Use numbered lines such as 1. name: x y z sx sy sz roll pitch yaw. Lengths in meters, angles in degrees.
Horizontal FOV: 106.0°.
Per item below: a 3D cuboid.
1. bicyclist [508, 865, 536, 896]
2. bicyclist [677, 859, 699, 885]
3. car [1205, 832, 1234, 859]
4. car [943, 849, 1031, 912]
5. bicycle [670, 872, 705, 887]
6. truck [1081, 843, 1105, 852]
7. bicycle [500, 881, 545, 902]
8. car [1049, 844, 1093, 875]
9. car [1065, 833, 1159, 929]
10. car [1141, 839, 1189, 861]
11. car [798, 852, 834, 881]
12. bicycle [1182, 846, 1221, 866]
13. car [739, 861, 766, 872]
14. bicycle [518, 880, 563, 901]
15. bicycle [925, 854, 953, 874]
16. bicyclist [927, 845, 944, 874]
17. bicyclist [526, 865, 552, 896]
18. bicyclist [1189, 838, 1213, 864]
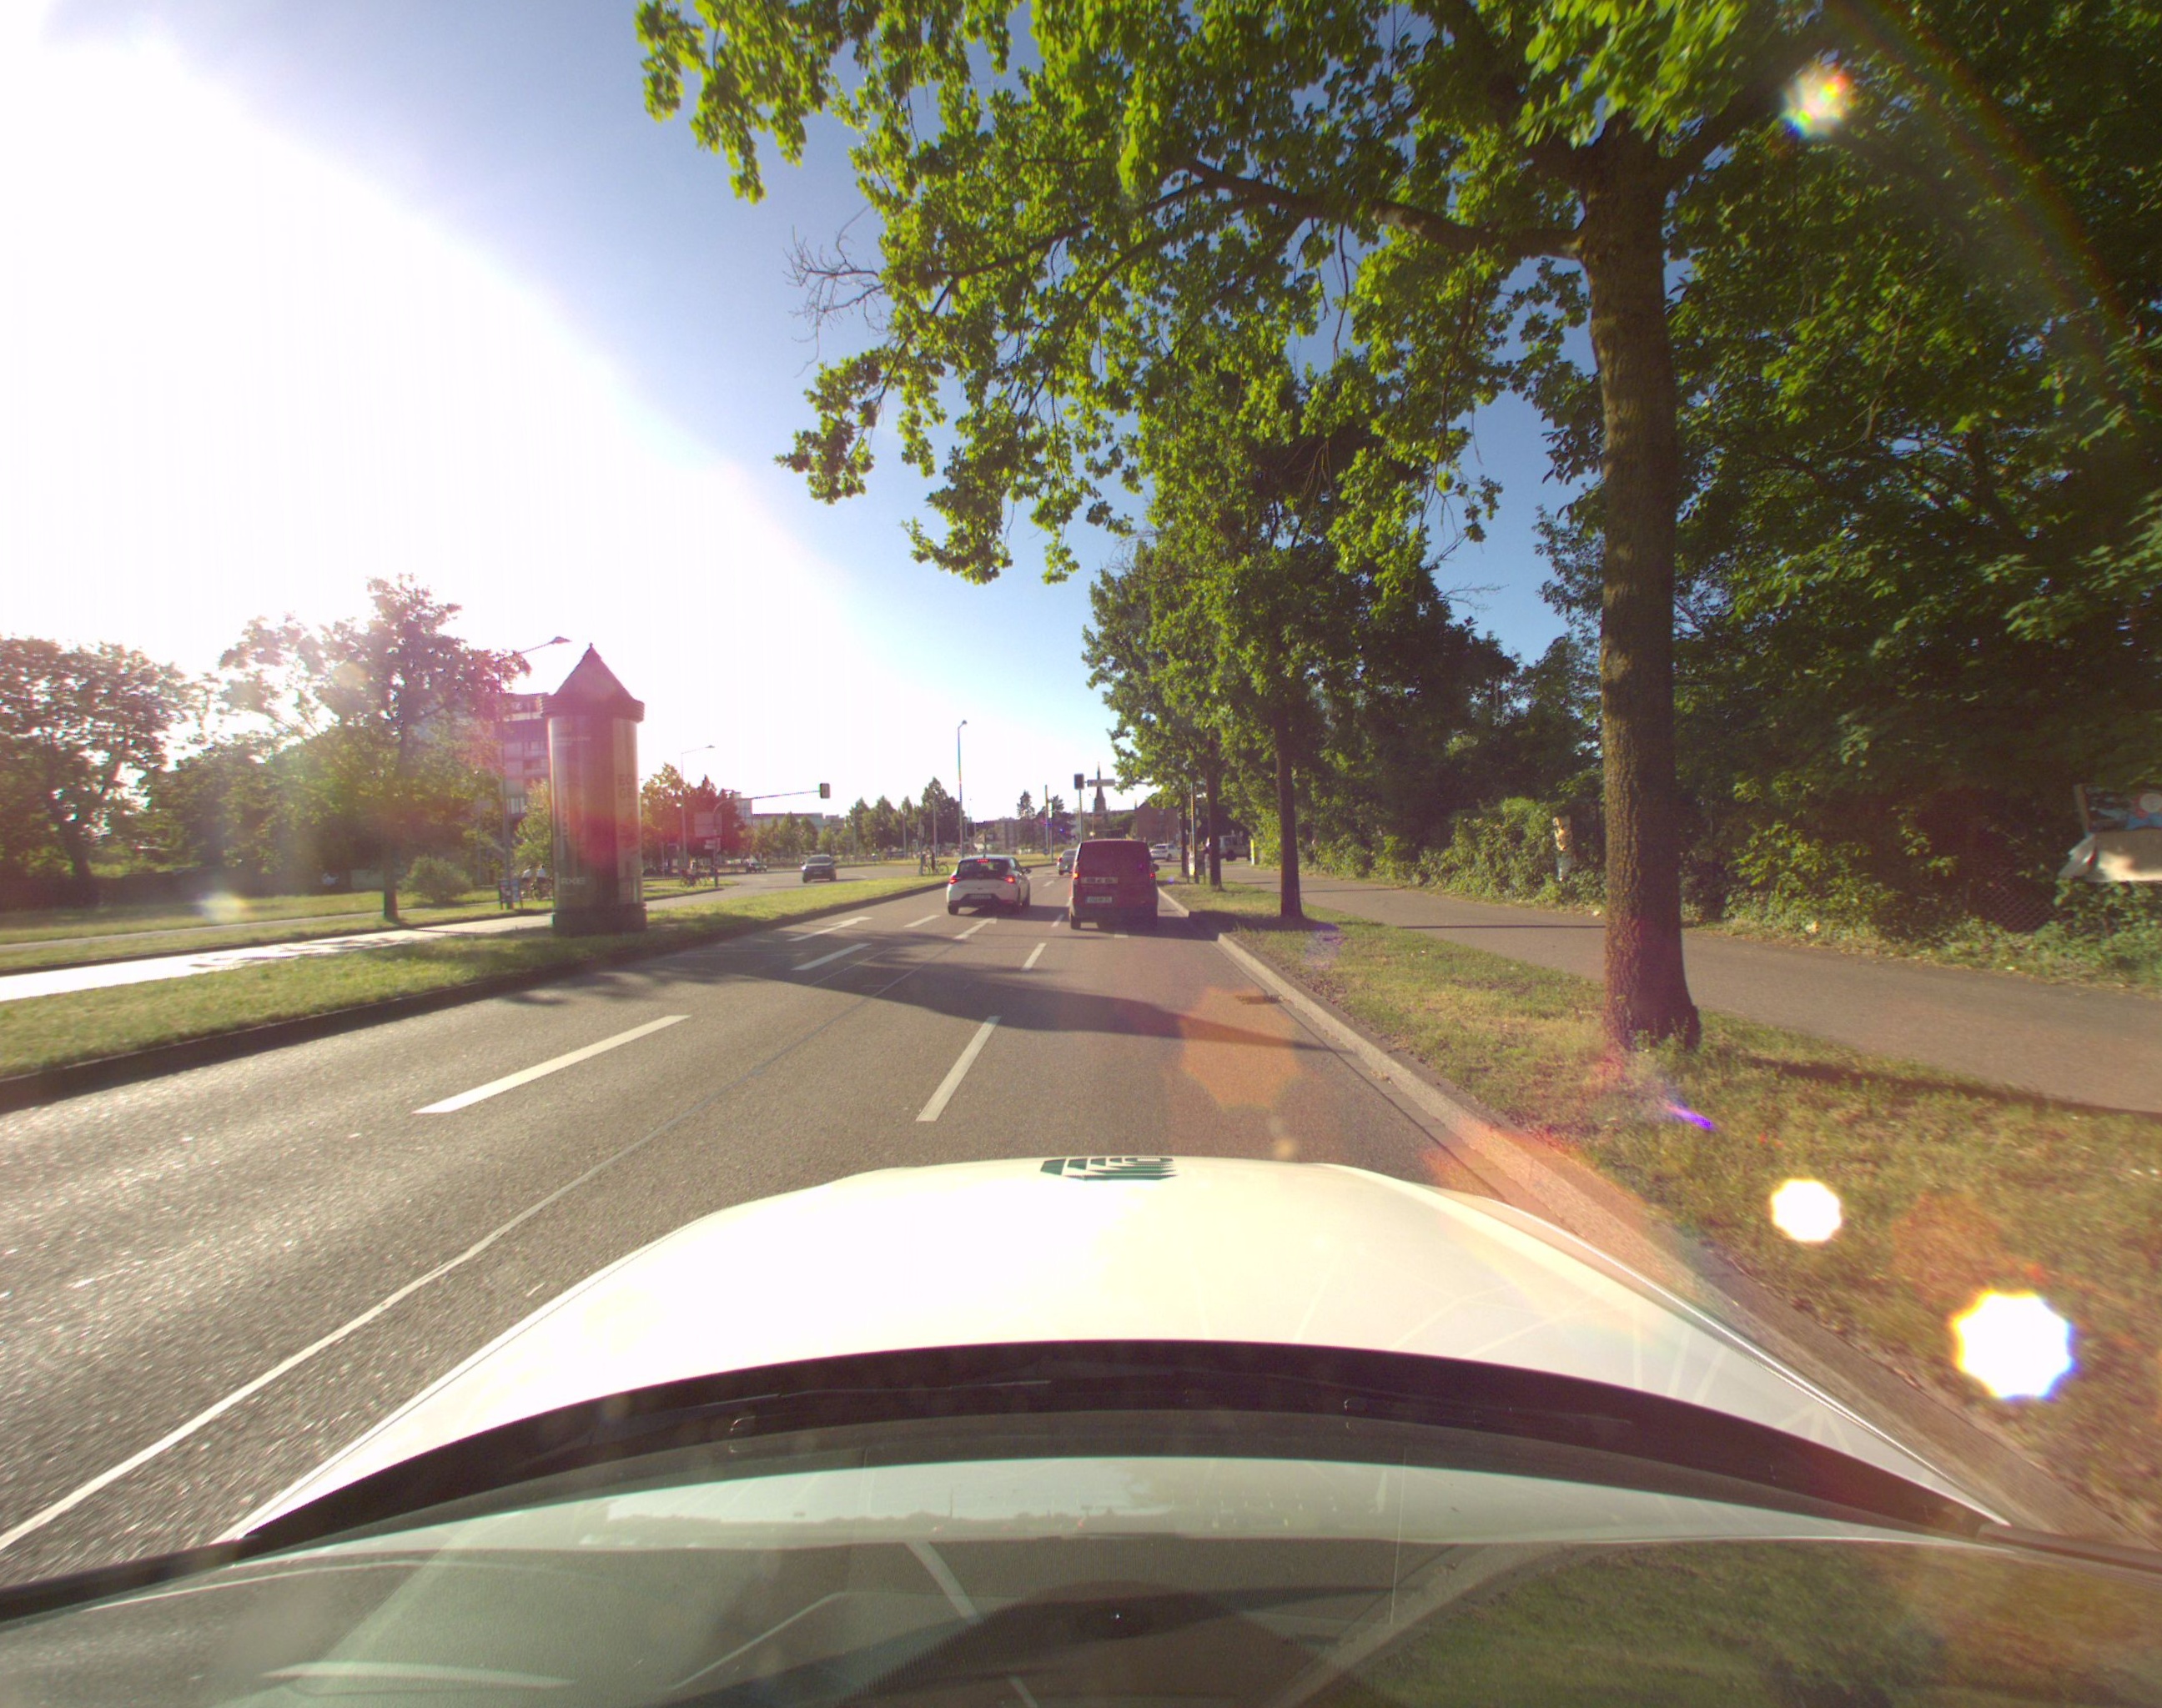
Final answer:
1. bicyclist: -26.440 1.230 38.538 0.612 1.392 0.839 -2 1 7
2. bicyclist: -23.876 1.085 49.496 0.917 1.517 0.619 -2 1 8
3. car: 10.519 -0.606 62.070 1.985 1.897 4.764 -2 0 8
4. car: -2.341 0.623 21.216 1.796 1.461 3.810 -1 0 1
5. bicycle: -23.910 1.551 49.503 1.872 0.852 0.619 -2 1 8
6. truck: 2.820 -1.414 188.569 2.181 2.014 6.364 0 -1 -37
7. bicycle: -26.409 1.772 38.552 0.612 0.852 1.893 -2 1 7
8. car: -0.512 0.272 46.948 1.983 1.575 4.416 -2 1 6
9. car: 0.698 0.502 17.483 1.795 1.813 3.813 0 0 3
10. car: 6.928 -0.331 66.514 1.974 1.639 4.437 -2 1 34
11. car: -16.916 0.780 52.162 1.999 1.739 4.710 -2 0 -17
12. bicycle: 7.621 0.116 51.459 2.218 1.155 0.870 -3 -1 -22
13. car: -53.246 2.063 132.087 4.269 1.541 2.022 -2 0 35
14. bicycle: -25.265 1.695 38.124 0.612 0.852 1.893 -2 1 7
15. bicycle: -8.578 0.600 49.238 1.649 1.128 0.702 -2 -1 -8
16. bicyclist: -8.782 0.336 49.202 0.939 1.663 0.702 -2 -1 -8
17. bicyclist: -25.335 1.225 38.056 0.612 1.392 0.721 -2 1 7
18. bicyclist: 7.584 -0.213 51.449 1.088 1.562 0.870 -3 -1 -21
